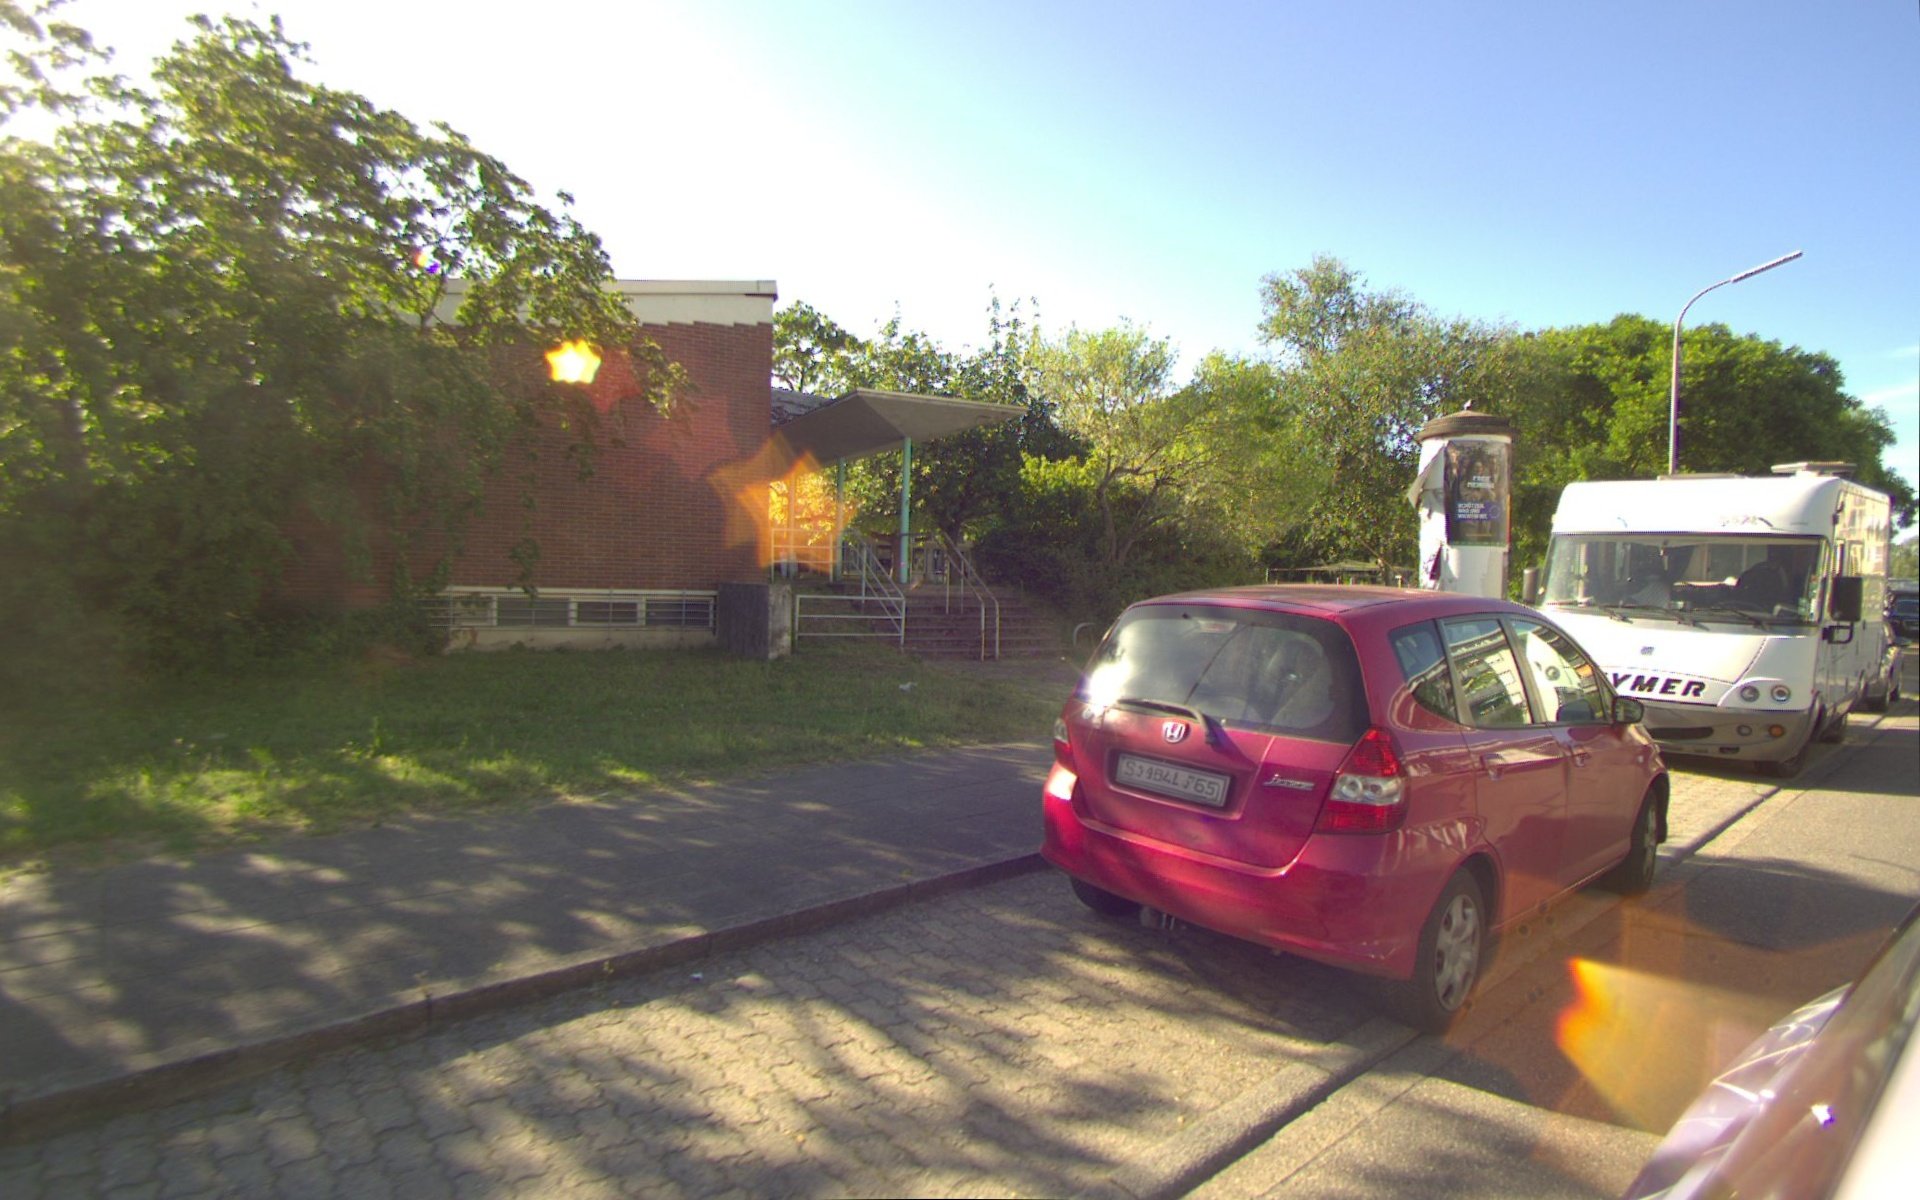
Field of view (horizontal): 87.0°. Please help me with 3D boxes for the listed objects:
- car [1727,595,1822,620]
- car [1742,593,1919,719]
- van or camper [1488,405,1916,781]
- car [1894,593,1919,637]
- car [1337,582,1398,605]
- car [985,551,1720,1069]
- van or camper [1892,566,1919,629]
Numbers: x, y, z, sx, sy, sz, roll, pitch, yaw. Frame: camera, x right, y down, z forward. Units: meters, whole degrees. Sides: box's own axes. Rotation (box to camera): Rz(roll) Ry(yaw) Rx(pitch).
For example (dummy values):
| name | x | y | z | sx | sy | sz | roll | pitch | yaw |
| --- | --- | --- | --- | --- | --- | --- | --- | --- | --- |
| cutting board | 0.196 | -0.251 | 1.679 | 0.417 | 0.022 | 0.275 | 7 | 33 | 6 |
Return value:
| name | x | y | z | sx | sy | sz | roll | pitch | yaw |
| --- | --- | --- | --- | --- | --- | --- | --- | --- | --- |
| car | 51.056 | 0.455 | 63.504 | 1.716 | 1.354 | 4.431 | 2 | 0 | -42 |
| car | 13.595 | 0.749 | 15.608 | 4.355 | 1.542 | 1.723 | 0 | 5 | -44 |
| van or camper | 8.351 | -0.099 | 10.997 | 6.736 | 2.880 | 2.500 | 0 | 2 | -43 |
| car | 38.961 | 0.604 | 40.619 | 1.993 | 1.660 | 4.467 | 5 | 3 | 42 |
| car | 31.343 | -0.541 | 77.911 | 1.967 | 1.631 | 3.868 | 0 | 2 | -45 |
| car | 2.137 | 0.577 | 4.883 | 3.931 | 1.492 | 1.694 | 0 | 2 | -42 |
| van or camper | 43.635 | -0.057 | 45.405 | 2.354 | 2.627 | 6.323 | 7 | 5 | 44 |
